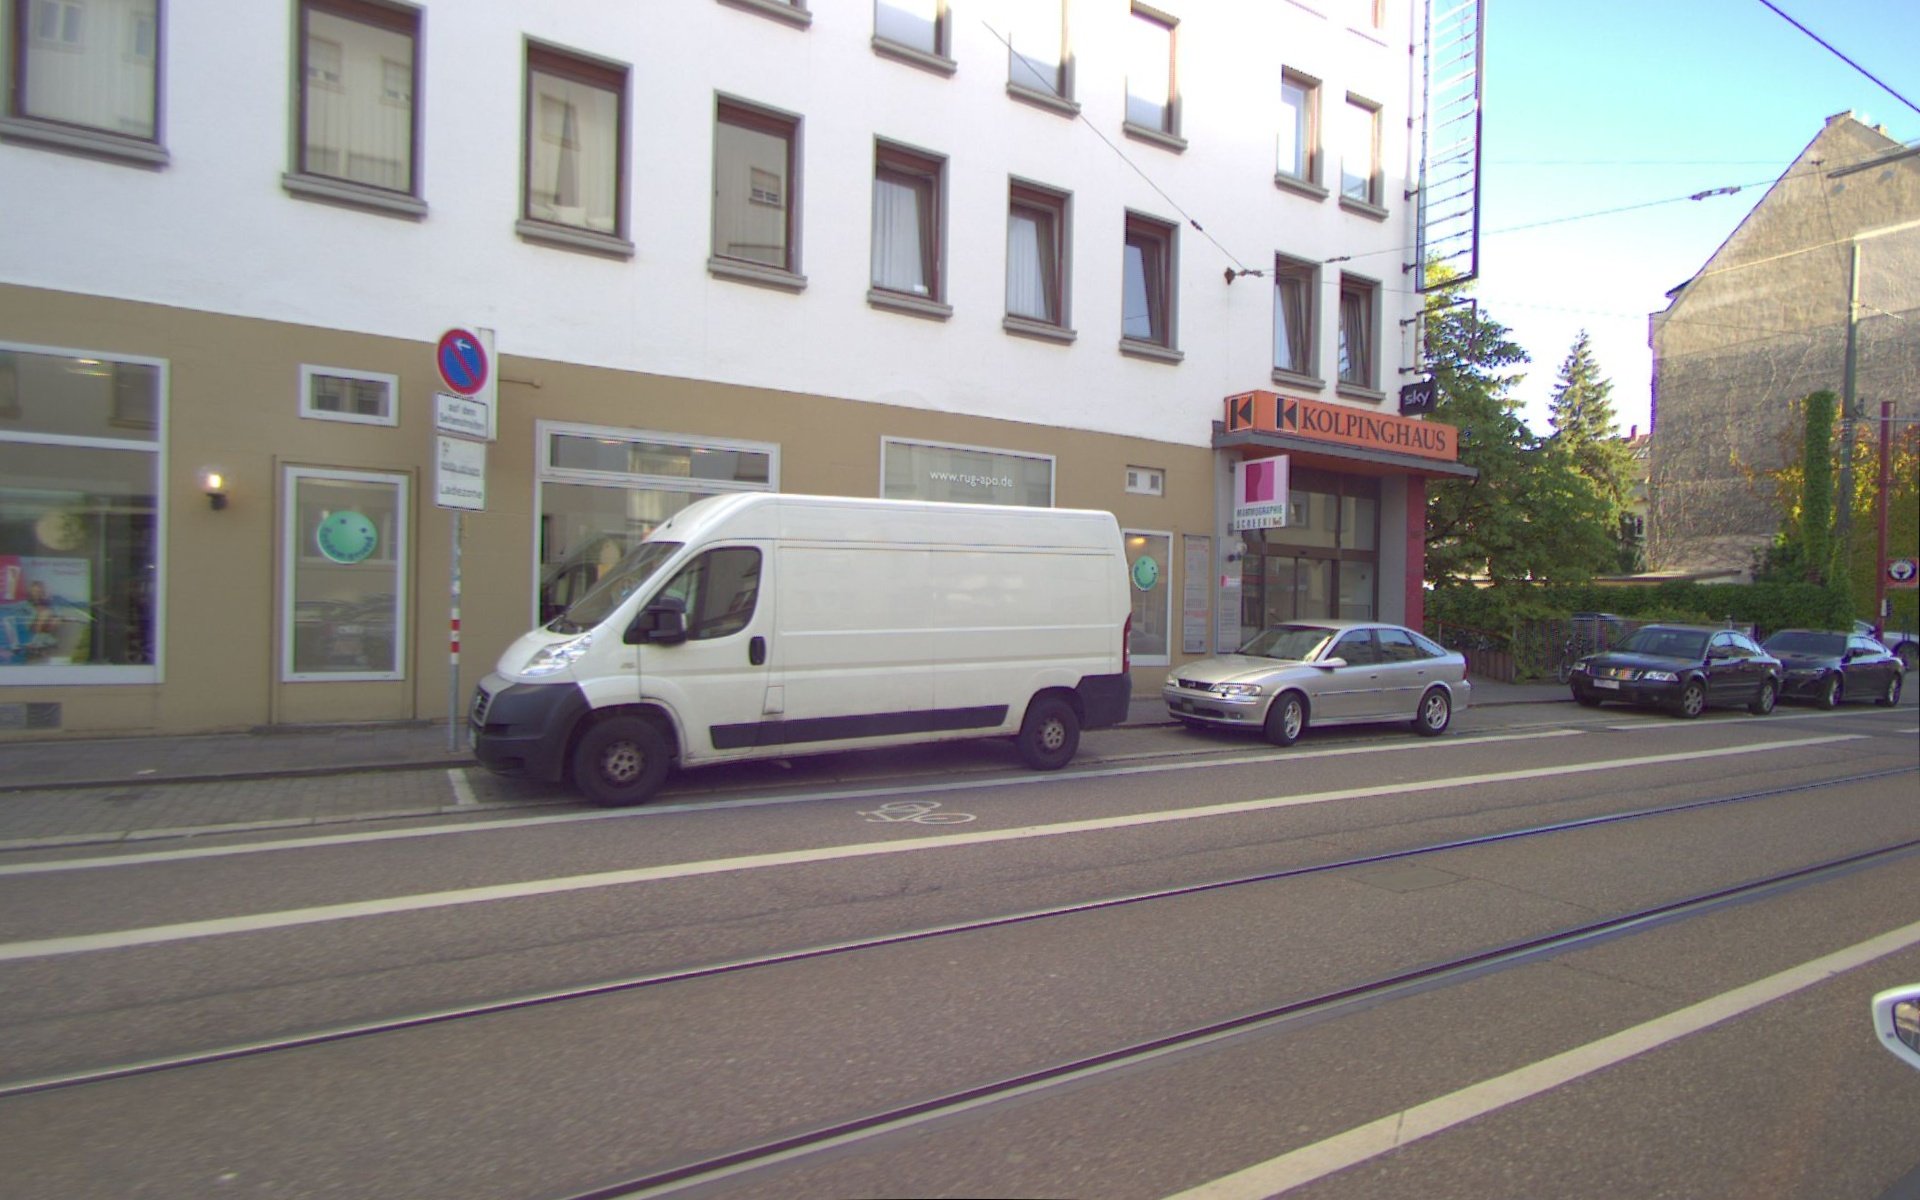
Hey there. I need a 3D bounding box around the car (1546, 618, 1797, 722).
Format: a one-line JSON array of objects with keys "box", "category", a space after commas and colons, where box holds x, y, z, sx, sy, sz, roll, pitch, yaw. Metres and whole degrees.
[{"box": [12.258, 1.123, 17.228, 4.646, 1.501, 1.774, 1, 1, -31], "category": "car"}]

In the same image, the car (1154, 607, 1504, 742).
[{"box": [4.803, 0.878, 12.947, 4.391, 1.417, 1.775, 1, 1, -29], "category": "car"}]

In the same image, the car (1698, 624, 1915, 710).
[{"box": [17.006, 1.278, 20.127, 4.784, 1.465, 1.774, 1, 1, -30], "category": "car"}]

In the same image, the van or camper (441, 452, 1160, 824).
[{"box": [-1.244, 0.290, 9.273, 6.161, 2.500, 2.160, 1, 1, -31], "category": "van or camper"}]

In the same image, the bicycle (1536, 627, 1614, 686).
[{"box": [12.887, 1.178, 21.033, 2.025, 1.190, 0.437, 2, 0, -30], "category": "bicycle"}]

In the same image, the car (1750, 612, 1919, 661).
[{"box": [31.120, 1.260, 35.470, 4.708, 1.538, 1.997, 1, 0, 27], "category": "car"}]
